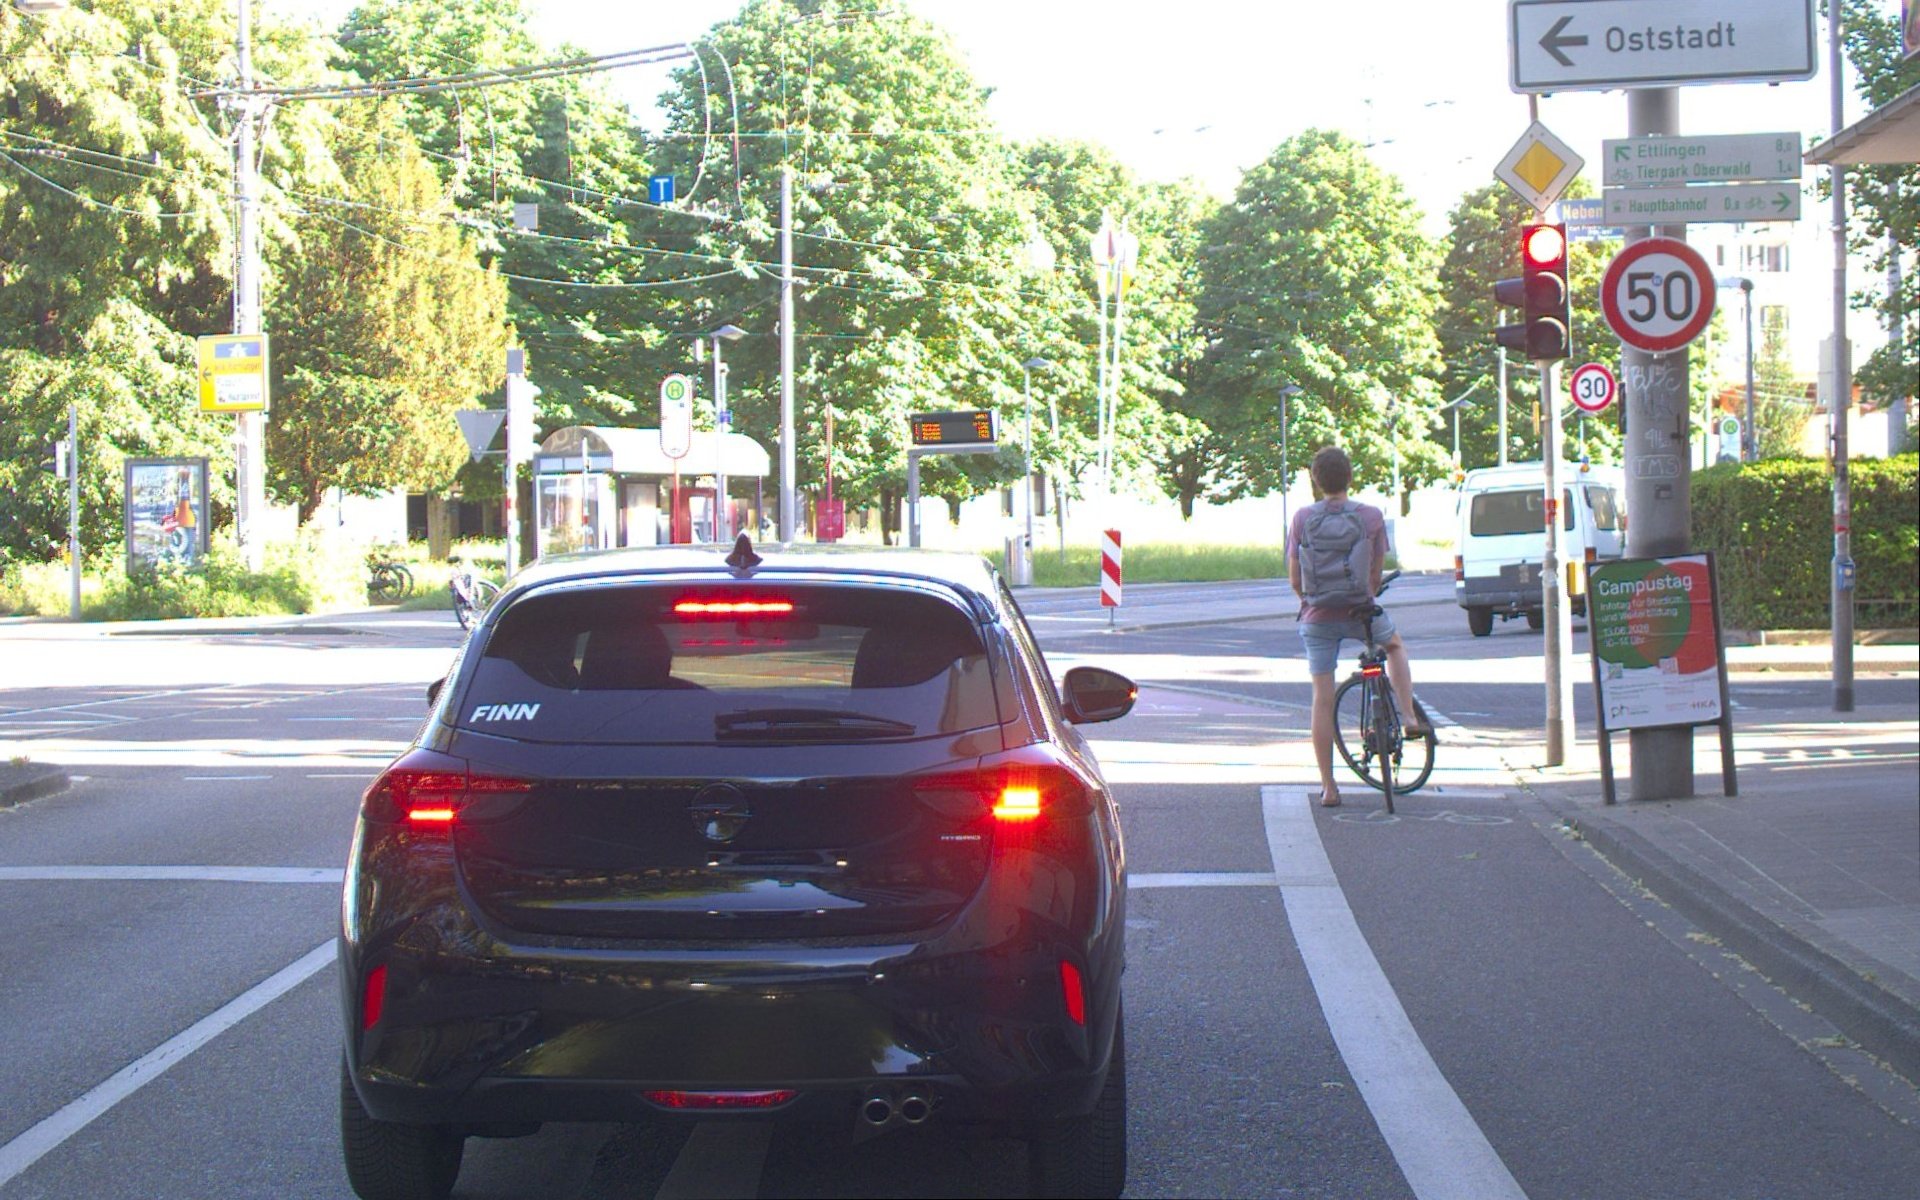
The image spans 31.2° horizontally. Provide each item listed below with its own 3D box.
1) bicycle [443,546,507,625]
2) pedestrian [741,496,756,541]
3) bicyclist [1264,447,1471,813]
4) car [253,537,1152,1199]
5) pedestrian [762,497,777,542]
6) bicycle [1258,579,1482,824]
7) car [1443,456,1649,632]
[{"bbox_3d":[-6.548,-0.209,46.489,0.605,1.028,1.982,0,1,-1],"label":"bicycle"},{"bbox_3d":[-6.675,-2.561,108.534,0.412,1.408,0.436,1,0,-3],"label":"pedestrian"},{"bbox_3d":[2.108,0.144,17.885,0.941,1.845,0.864,-1,1,-1],"label":"bicyclist"},{"bbox_3d":[-0.513,0.566,8.729,1.727,1.424,4.187,0,1,0],"label":"car"},{"bbox_3d":[-5.997,-2.541,108.309,0.412,1.408,0.436,1,0,-1],"label":"pedestrian"},{"bbox_3d":[2.107,0.490,17.965,0.860,1.149,2.172,-1,1,-1],"label":"bicycle"},{"bbox_3d":[7.978,-0.774,46.469,2.065,2.241,4.883,0,1,18],"label":"car"}]
